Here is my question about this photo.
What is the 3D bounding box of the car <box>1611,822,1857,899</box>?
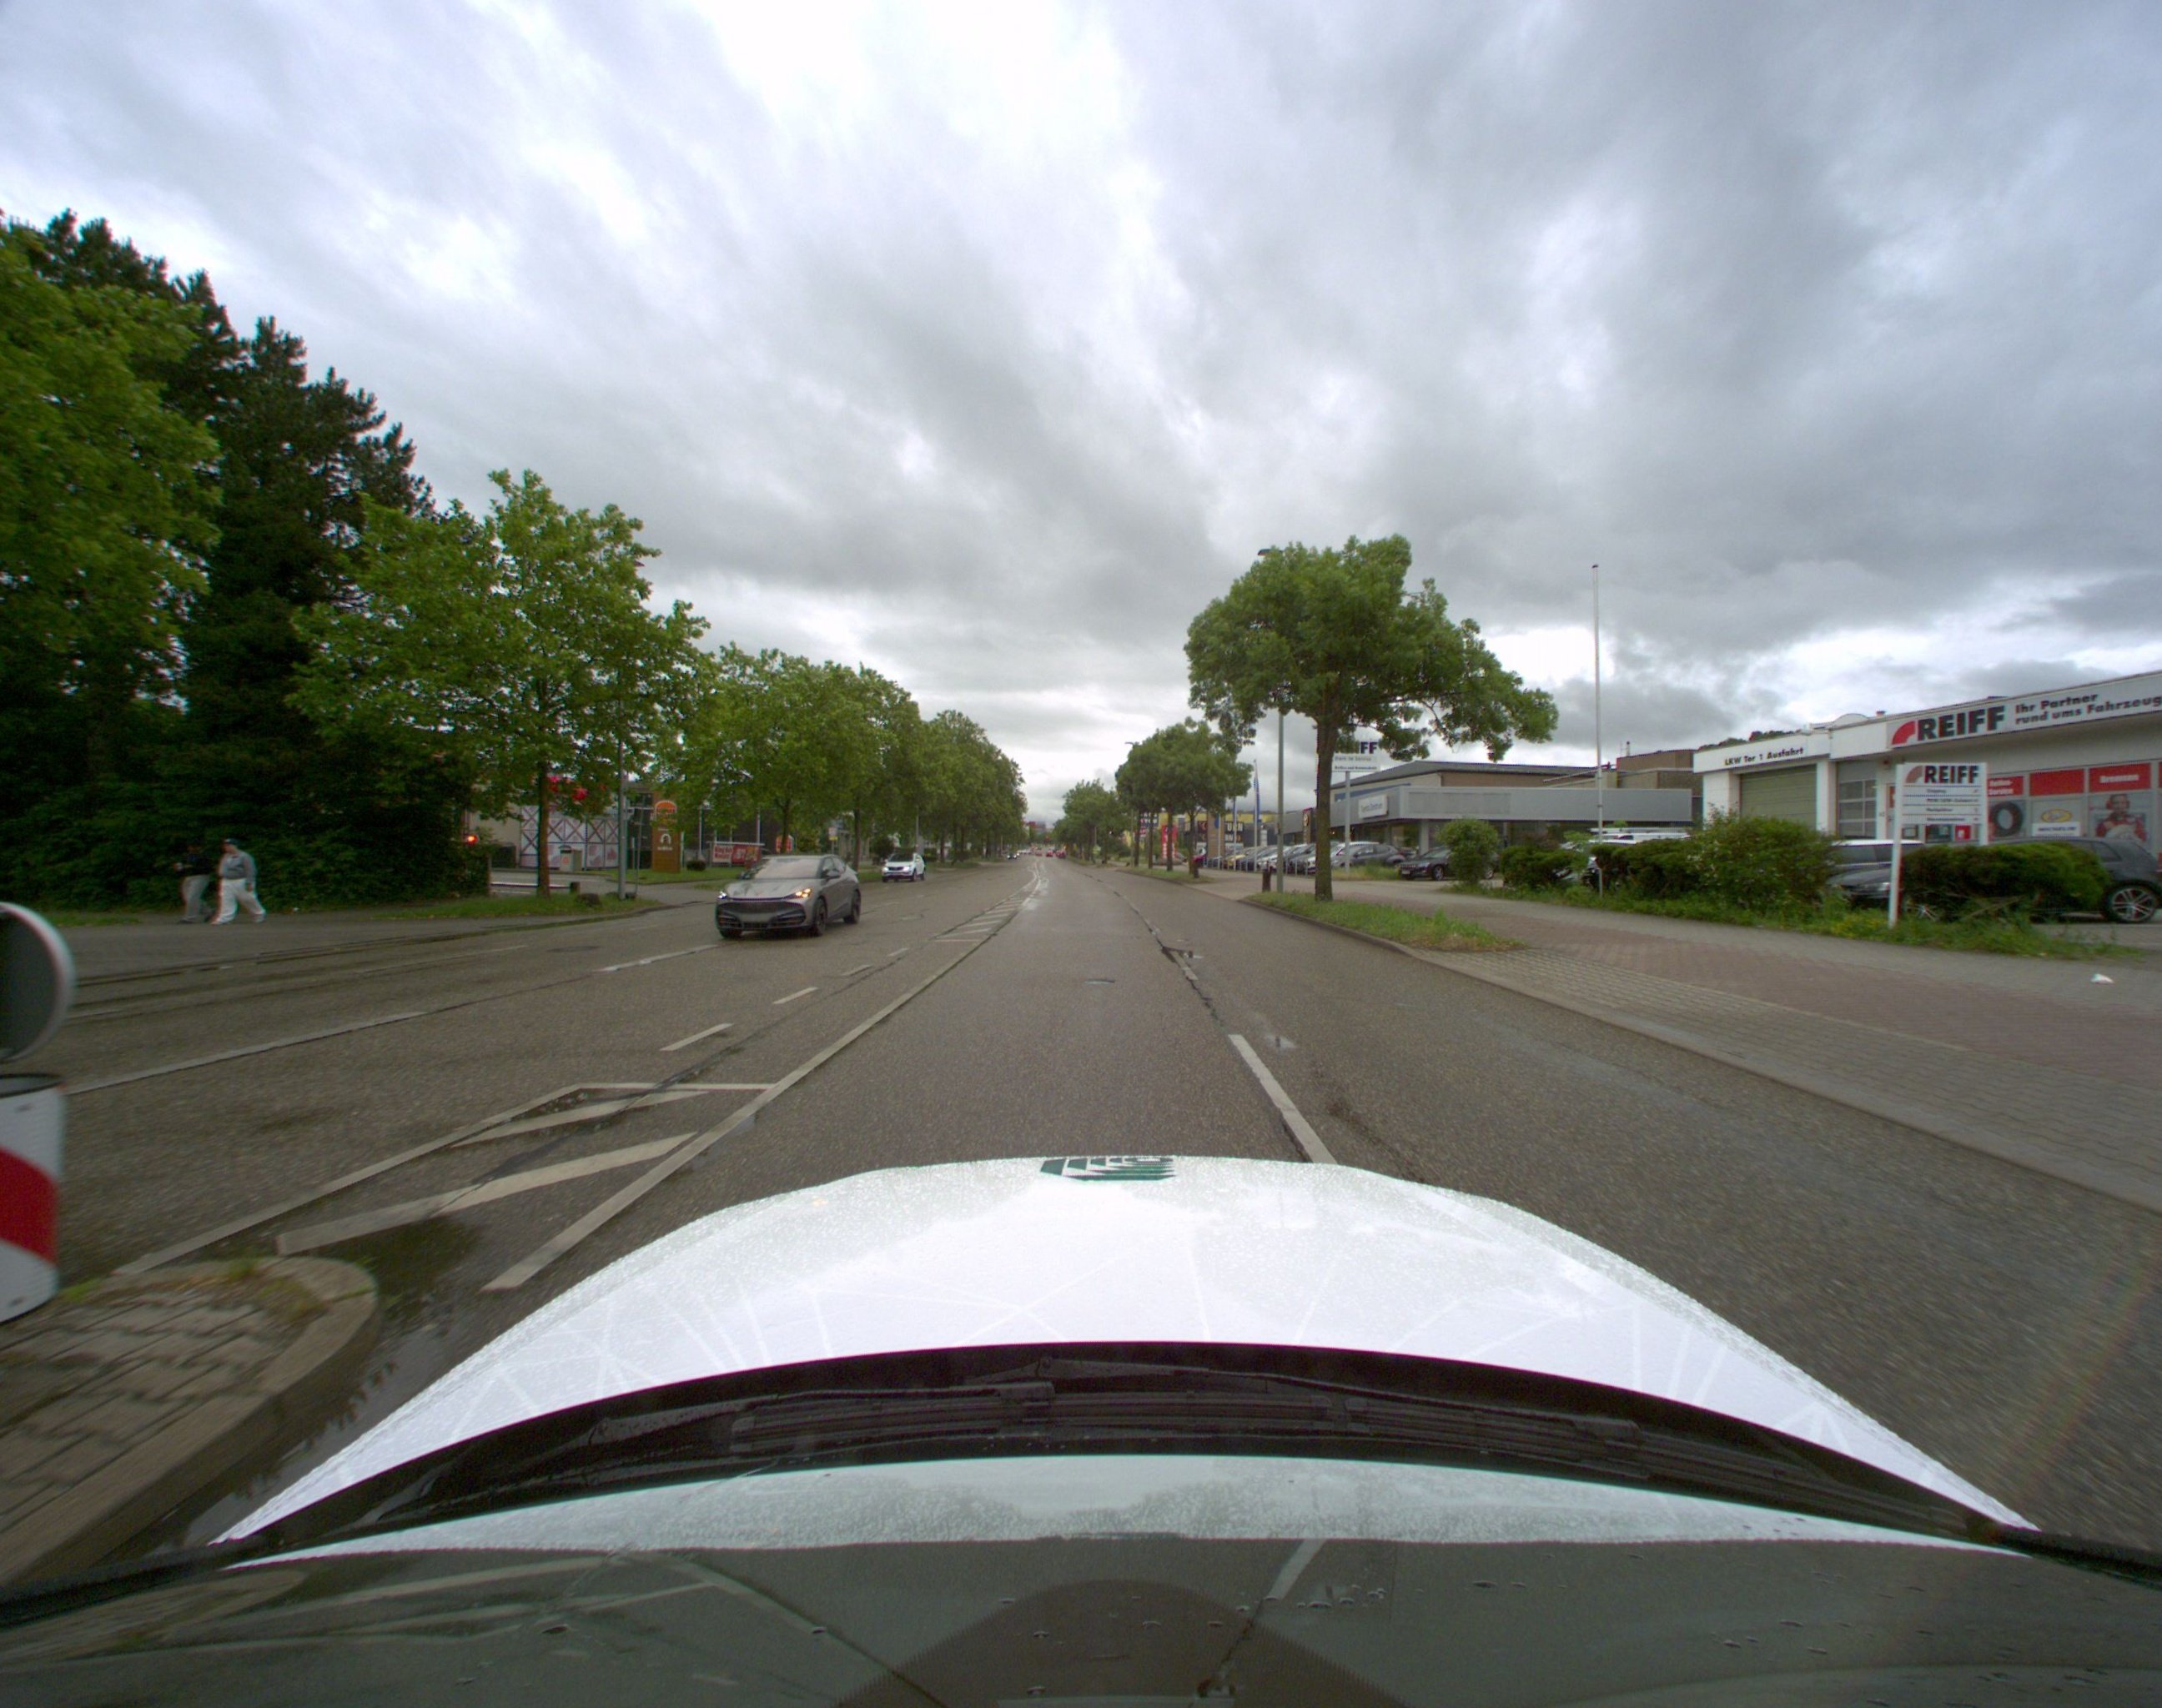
[{"bbox_3d":[15.047,0.135,19.022,4.111,1.662,1.829,-1,2,15],"label":"car"}]

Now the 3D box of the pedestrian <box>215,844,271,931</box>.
[{"bbox_3d":[-17.452,0.672,16.964,0.659,1.766,0.586,1,0,21],"label":"pedestrian"}]

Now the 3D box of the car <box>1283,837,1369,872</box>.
[{"bbox_3d":[13.216,0.022,44.081,3.974,1.584,1.812,-5,0,0],"label":"car"}]

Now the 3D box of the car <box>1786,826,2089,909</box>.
[{"bbox_3d":[17.063,0.279,16.449,3.900,1.523,1.739,-1,0,13],"label":"car"}]

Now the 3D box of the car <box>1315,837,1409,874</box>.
[{"bbox_3d":[13.470,0.082,39.173,3.824,1.461,1.826,-4,0,-3],"label":"car"}]

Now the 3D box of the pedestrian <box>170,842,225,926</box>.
[{"bbox_3d":[-18.201,0.610,16.778,0.510,1.683,0.540,-1,0,0],"label":"pedestrian"}]

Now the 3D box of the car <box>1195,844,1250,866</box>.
[{"bbox_3d":[11.302,0.101,65.257,3.977,1.647,1.843,-2,0,-2],"label":"car"}]

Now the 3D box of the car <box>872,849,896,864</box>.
[{"bbox_3d":[-21.219,0.268,87.944,1.819,1.486,3.934,-1,0,-4],"label":"car"}]

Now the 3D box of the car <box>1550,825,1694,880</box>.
[{"bbox_3d":[22.044,-0.069,33.313,4.641,2.149,1.963,-1,0,-3],"label":"car"}]

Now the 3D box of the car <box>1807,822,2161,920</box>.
[{"bbox_3d":[15.388,0.292,14.034,3.959,1.522,1.724,-1,0,13],"label":"car"}]

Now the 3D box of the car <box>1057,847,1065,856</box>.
[{"bbox_3d":[-4.687,-0.506,190.764,1.740,2.013,3.998,0,0,-1],"label":"car"}]

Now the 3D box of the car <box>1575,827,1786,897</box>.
[{"bbox_3d":[15.444,0.198,21.259,4.106,1.662,1.831,-1,2,22],"label":"car"}]

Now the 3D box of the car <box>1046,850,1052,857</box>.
[{"bbox_3d":[-9.465,-0.233,238.835,1.740,2.013,3.998,-1,0,-1],"label":"car"}]

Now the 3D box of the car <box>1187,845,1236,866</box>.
[{"bbox_3d":[11.175,0.110,70.102,3.831,1.603,1.794,-3,0,-2],"label":"car"}]

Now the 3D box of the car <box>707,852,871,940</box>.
[{"bbox_3d":[-5.847,0.768,16.950,1.806,1.562,4.596,-1,0,-1],"label":"car"}]

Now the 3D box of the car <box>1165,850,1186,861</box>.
[{"bbox_3d":[12.842,0.171,110.598,1.579,1.428,4.249,0,1,-12],"label":"car"}]

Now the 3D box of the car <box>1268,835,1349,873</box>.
[{"bbox_3d":[12.832,-0.007,46.176,3.974,1.786,1.812,-5,0,0],"label":"car"}]

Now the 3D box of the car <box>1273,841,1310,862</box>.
[{"bbox_3d":[17.091,-0.209,66.415,1.869,1.621,4.121,-2,0,-1],"label":"car"}]

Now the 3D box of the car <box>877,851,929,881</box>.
[{"bbox_3d":[-10.268,0.688,47.315,1.921,1.619,4.400,-1,0,1],"label":"car"}]

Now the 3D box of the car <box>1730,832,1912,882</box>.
[{"bbox_3d":[23.302,0.088,25.766,4.043,1.503,1.984,0,0,-1],"label":"car"}]

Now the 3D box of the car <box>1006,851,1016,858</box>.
[{"bbox_3d":[-14.330,0.112,166.192,1.799,1.463,3.843,-1,0,-2],"label":"car"}]

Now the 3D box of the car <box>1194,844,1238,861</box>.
[{"bbox_3d":[16.368,-0.186,98.929,4.825,2.014,1.982,-1,-1,-12],"label":"car"}]

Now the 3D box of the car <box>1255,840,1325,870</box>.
[{"bbox_3d":[13.211,0.047,51.586,3.974,1.786,1.812,-1,0,0],"label":"car"}]

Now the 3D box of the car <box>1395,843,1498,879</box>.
[{"bbox_3d":[15.726,0.301,35.212,3.664,1.464,1.795,-1,0,2],"label":"car"}]

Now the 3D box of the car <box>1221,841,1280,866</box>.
[{"bbox_3d":[12.438,-0.018,59.865,3.832,1.566,1.664,-4,0,-5],"label":"car"}]

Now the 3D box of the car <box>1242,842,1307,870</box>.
[{"bbox_3d":[13.098,0.110,55.179,3.974,1.786,1.812,-1,0,0],"label":"car"}]

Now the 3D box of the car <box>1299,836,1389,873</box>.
[{"bbox_3d":[13.436,0.023,41.752,3.974,1.543,1.812,-5,0,0],"label":"car"}]

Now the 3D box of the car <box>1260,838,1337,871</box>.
[{"bbox_3d":[13.037,0.012,48.975,3.979,1.587,1.810,-5,1,-4],"label":"car"}]

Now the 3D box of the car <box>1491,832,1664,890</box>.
[{"bbox_3d":[14.536,0.223,24.114,4.022,1.597,1.994,-1,0,19],"label":"car"}]

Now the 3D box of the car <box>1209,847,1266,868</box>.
[{"bbox_3d":[11.894,0.256,61.933,3.977,1.538,1.798,-1,0,-3],"label":"car"}]

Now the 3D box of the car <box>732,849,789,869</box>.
[{"bbox_3d":[-20.914,0.311,53.139,3.159,1.155,1.293,2,0,5],"label":"car"}]
